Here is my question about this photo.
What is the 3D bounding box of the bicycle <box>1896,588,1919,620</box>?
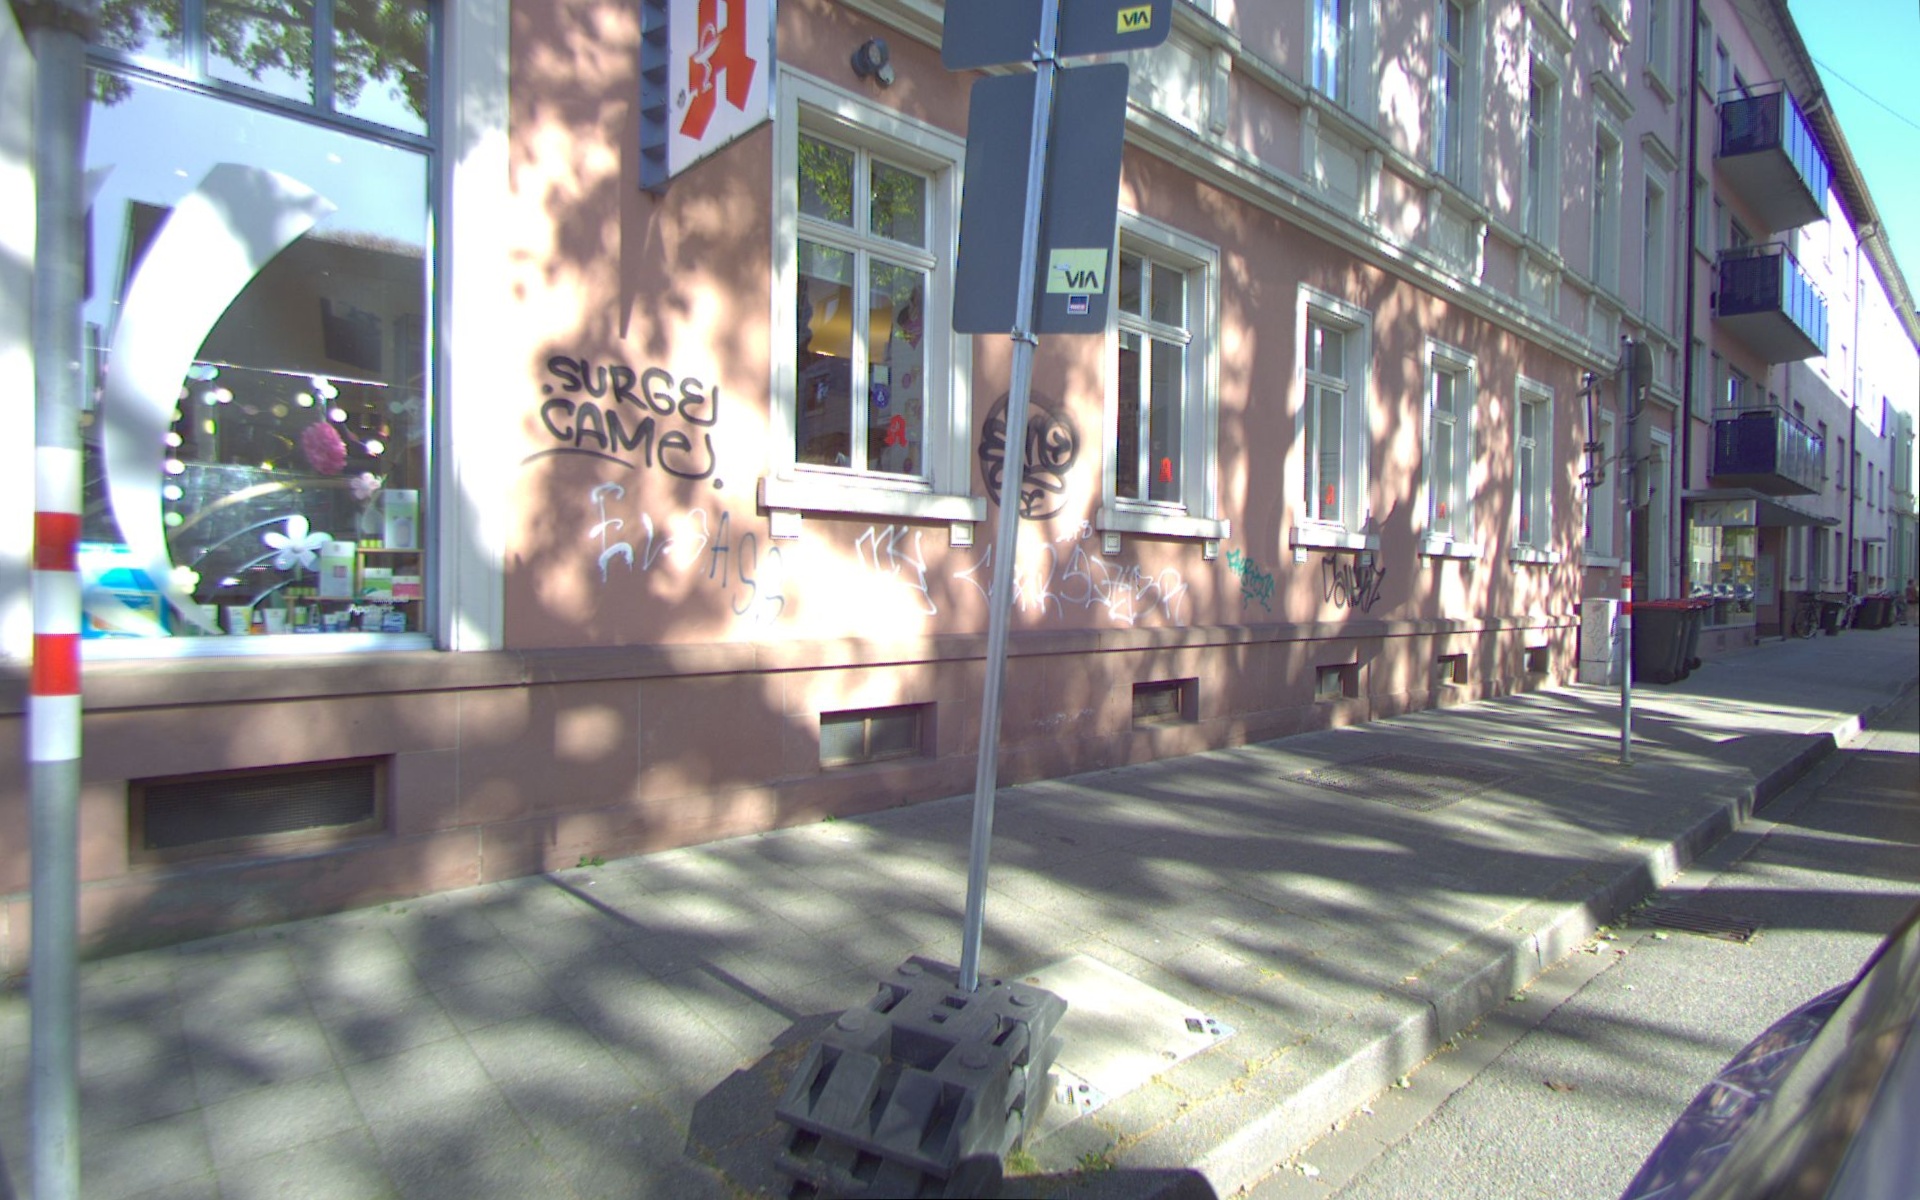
[{"bbox_3d":[34.123,0.129,36.371,1.899,1.109,0.489,0,1,-41],"label":"bicycle"}]

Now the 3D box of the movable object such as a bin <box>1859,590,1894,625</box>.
[{"bbox_3d":[28.044,0.222,30.970,0.537,1.014,0.716,0,4,-43],"label":"movable object such as a bin"}]

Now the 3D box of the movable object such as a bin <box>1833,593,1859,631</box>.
[{"bbox_3d":[23.027,0.302,26.297,0.297,0.951,0.415,0,4,-43],"label":"movable object such as a bin"}]

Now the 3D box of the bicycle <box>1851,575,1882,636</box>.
[{"bbox_3d":[26.672,0.151,29.769,2.070,1.757,0.402,0,1,-41],"label":"bicycle"}]

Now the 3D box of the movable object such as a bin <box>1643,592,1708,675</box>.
[{"bbox_3d":[9.857,0.442,13.939,0.601,1.071,0.570,0,4,-43],"label":"movable object such as a bin"}]

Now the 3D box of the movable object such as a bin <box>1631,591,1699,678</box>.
[{"bbox_3d":[9.419,0.445,13.520,0.643,1.097,0.570,0,4,-43],"label":"movable object such as a bin"}]

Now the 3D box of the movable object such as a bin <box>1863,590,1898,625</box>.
[{"bbox_3d":[28.526,0.220,31.357,0.537,1.014,0.716,0,4,-43],"label":"movable object such as a bin"}]

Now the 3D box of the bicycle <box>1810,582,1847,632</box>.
[{"bbox_3d":[21.080,0.144,24.555,1.990,1.165,0.402,0,1,-41],"label":"bicycle"}]

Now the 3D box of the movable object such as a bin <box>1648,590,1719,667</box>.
[{"bbox_3d":[11.023,0.412,15.424,0.608,1.097,0.717,0,4,-43],"label":"movable object such as a bin"}]
